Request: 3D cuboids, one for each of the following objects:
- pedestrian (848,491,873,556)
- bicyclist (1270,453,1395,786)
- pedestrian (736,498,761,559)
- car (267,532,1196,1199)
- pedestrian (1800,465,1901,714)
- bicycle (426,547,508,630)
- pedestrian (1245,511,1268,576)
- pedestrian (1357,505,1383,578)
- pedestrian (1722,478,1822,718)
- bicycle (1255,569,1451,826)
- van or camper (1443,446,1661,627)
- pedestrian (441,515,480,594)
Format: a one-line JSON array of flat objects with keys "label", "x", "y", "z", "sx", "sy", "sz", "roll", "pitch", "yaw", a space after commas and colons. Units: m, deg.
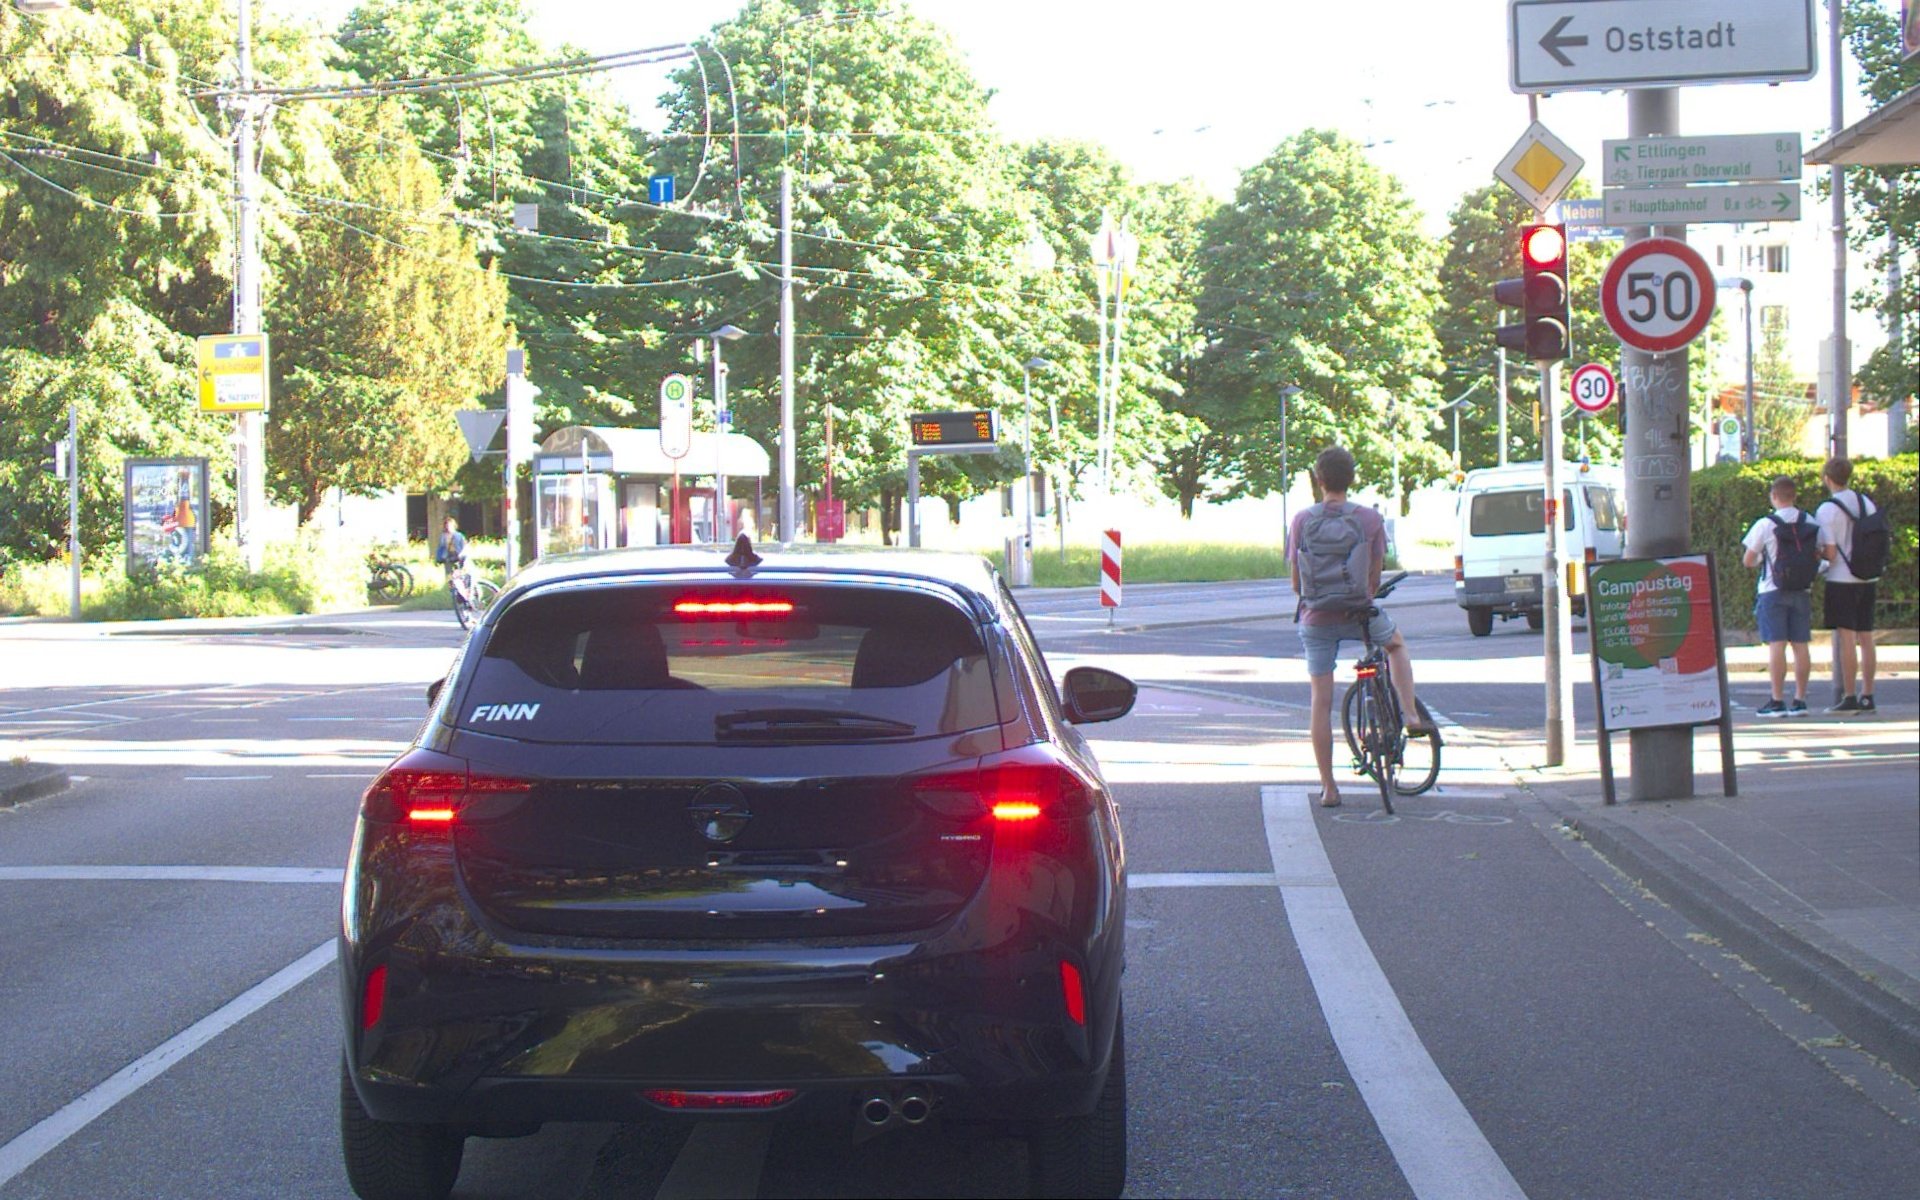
[{"label": "pedestrian", "x": -2.891, "y": -2.209, "z": 99.689, "sx": 0.620, "sy": 1.865, "sz": 0.519, "roll": 1, "pitch": 0, "yaw": 8}, {"label": "bicyclist", "x": 1.931, "y": 0.092, "z": 17.779, "sx": 0.534, "sy": 1.686, "sz": 0.567, "roll": 0, "pitch": 1, "yaw": 17}, {"label": "pedestrian", "x": -6.503, "y": -2.203, "z": 105.662, "sx": 0.737, "sy": 1.865, "sz": 0.662, "roll": 1, "pitch": 0, "yaw": -6}, {"label": "car", "x": -0.476, "y": 0.566, "z": 8.822, "sx": 1.840, "sy": 1.457, "sz": 3.984, "roll": 0, "pitch": 1, "yaw": -1}, {"label": "pedestrian", "x": 6.602, "y": -0.082, "z": 25.480, "sx": 0.633, "sy": 1.814, "sz": 0.744, "roll": 1, "pitch": 0, "yaw": 20}, {"label": "bicycle", "x": -6.635, "y": -0.172, "z": 46.343, "sx": 0.796, "sy": 1.061, "sz": 2.185, "roll": 0, "pitch": 1, "yaw": -1}, {"label": "pedestrian", "x": 8.559, "y": -1.632, "z": 99.267, "sx": 0.604, "sy": 1.865, "sz": 0.519, "roll": 1, "pitch": 0, "yaw": 8}, {"label": "pedestrian", "x": 10.482, "y": -1.492, "z": 87.893, "sx": 0.603, "sy": 1.865, "sz": 0.519, "roll": 1, "pitch": 0, "yaw": 3}, {"label": "pedestrian", "x": 6.036, "y": -0.019, "z": 25.549, "sx": 0.633, "sy": 1.757, "sz": 0.582, "roll": 1, "pitch": 0, "yaw": 20}, {"label": "bicycle", "x": 2.078, "y": 0.471, "z": 17.957, "sx": 0.753, "sy": 1.231, "sz": 2.014, "roll": 0, "pitch": 1, "yaw": 14}, {"label": "van or camper", "x": 8.027, "y": -0.840, "z": 46.291, "sx": 2.031, "sy": 2.302, "sz": 4.535, "roll": 1, "pitch": 1, "yaw": 21}, {"label": "pedestrian", "x": -9.300, "y": -0.856, "z": 64.064, "sx": 0.570, "sy": 1.467, "sz": 0.665, "roll": 0, "pitch": 1, "yaw": 5}]
